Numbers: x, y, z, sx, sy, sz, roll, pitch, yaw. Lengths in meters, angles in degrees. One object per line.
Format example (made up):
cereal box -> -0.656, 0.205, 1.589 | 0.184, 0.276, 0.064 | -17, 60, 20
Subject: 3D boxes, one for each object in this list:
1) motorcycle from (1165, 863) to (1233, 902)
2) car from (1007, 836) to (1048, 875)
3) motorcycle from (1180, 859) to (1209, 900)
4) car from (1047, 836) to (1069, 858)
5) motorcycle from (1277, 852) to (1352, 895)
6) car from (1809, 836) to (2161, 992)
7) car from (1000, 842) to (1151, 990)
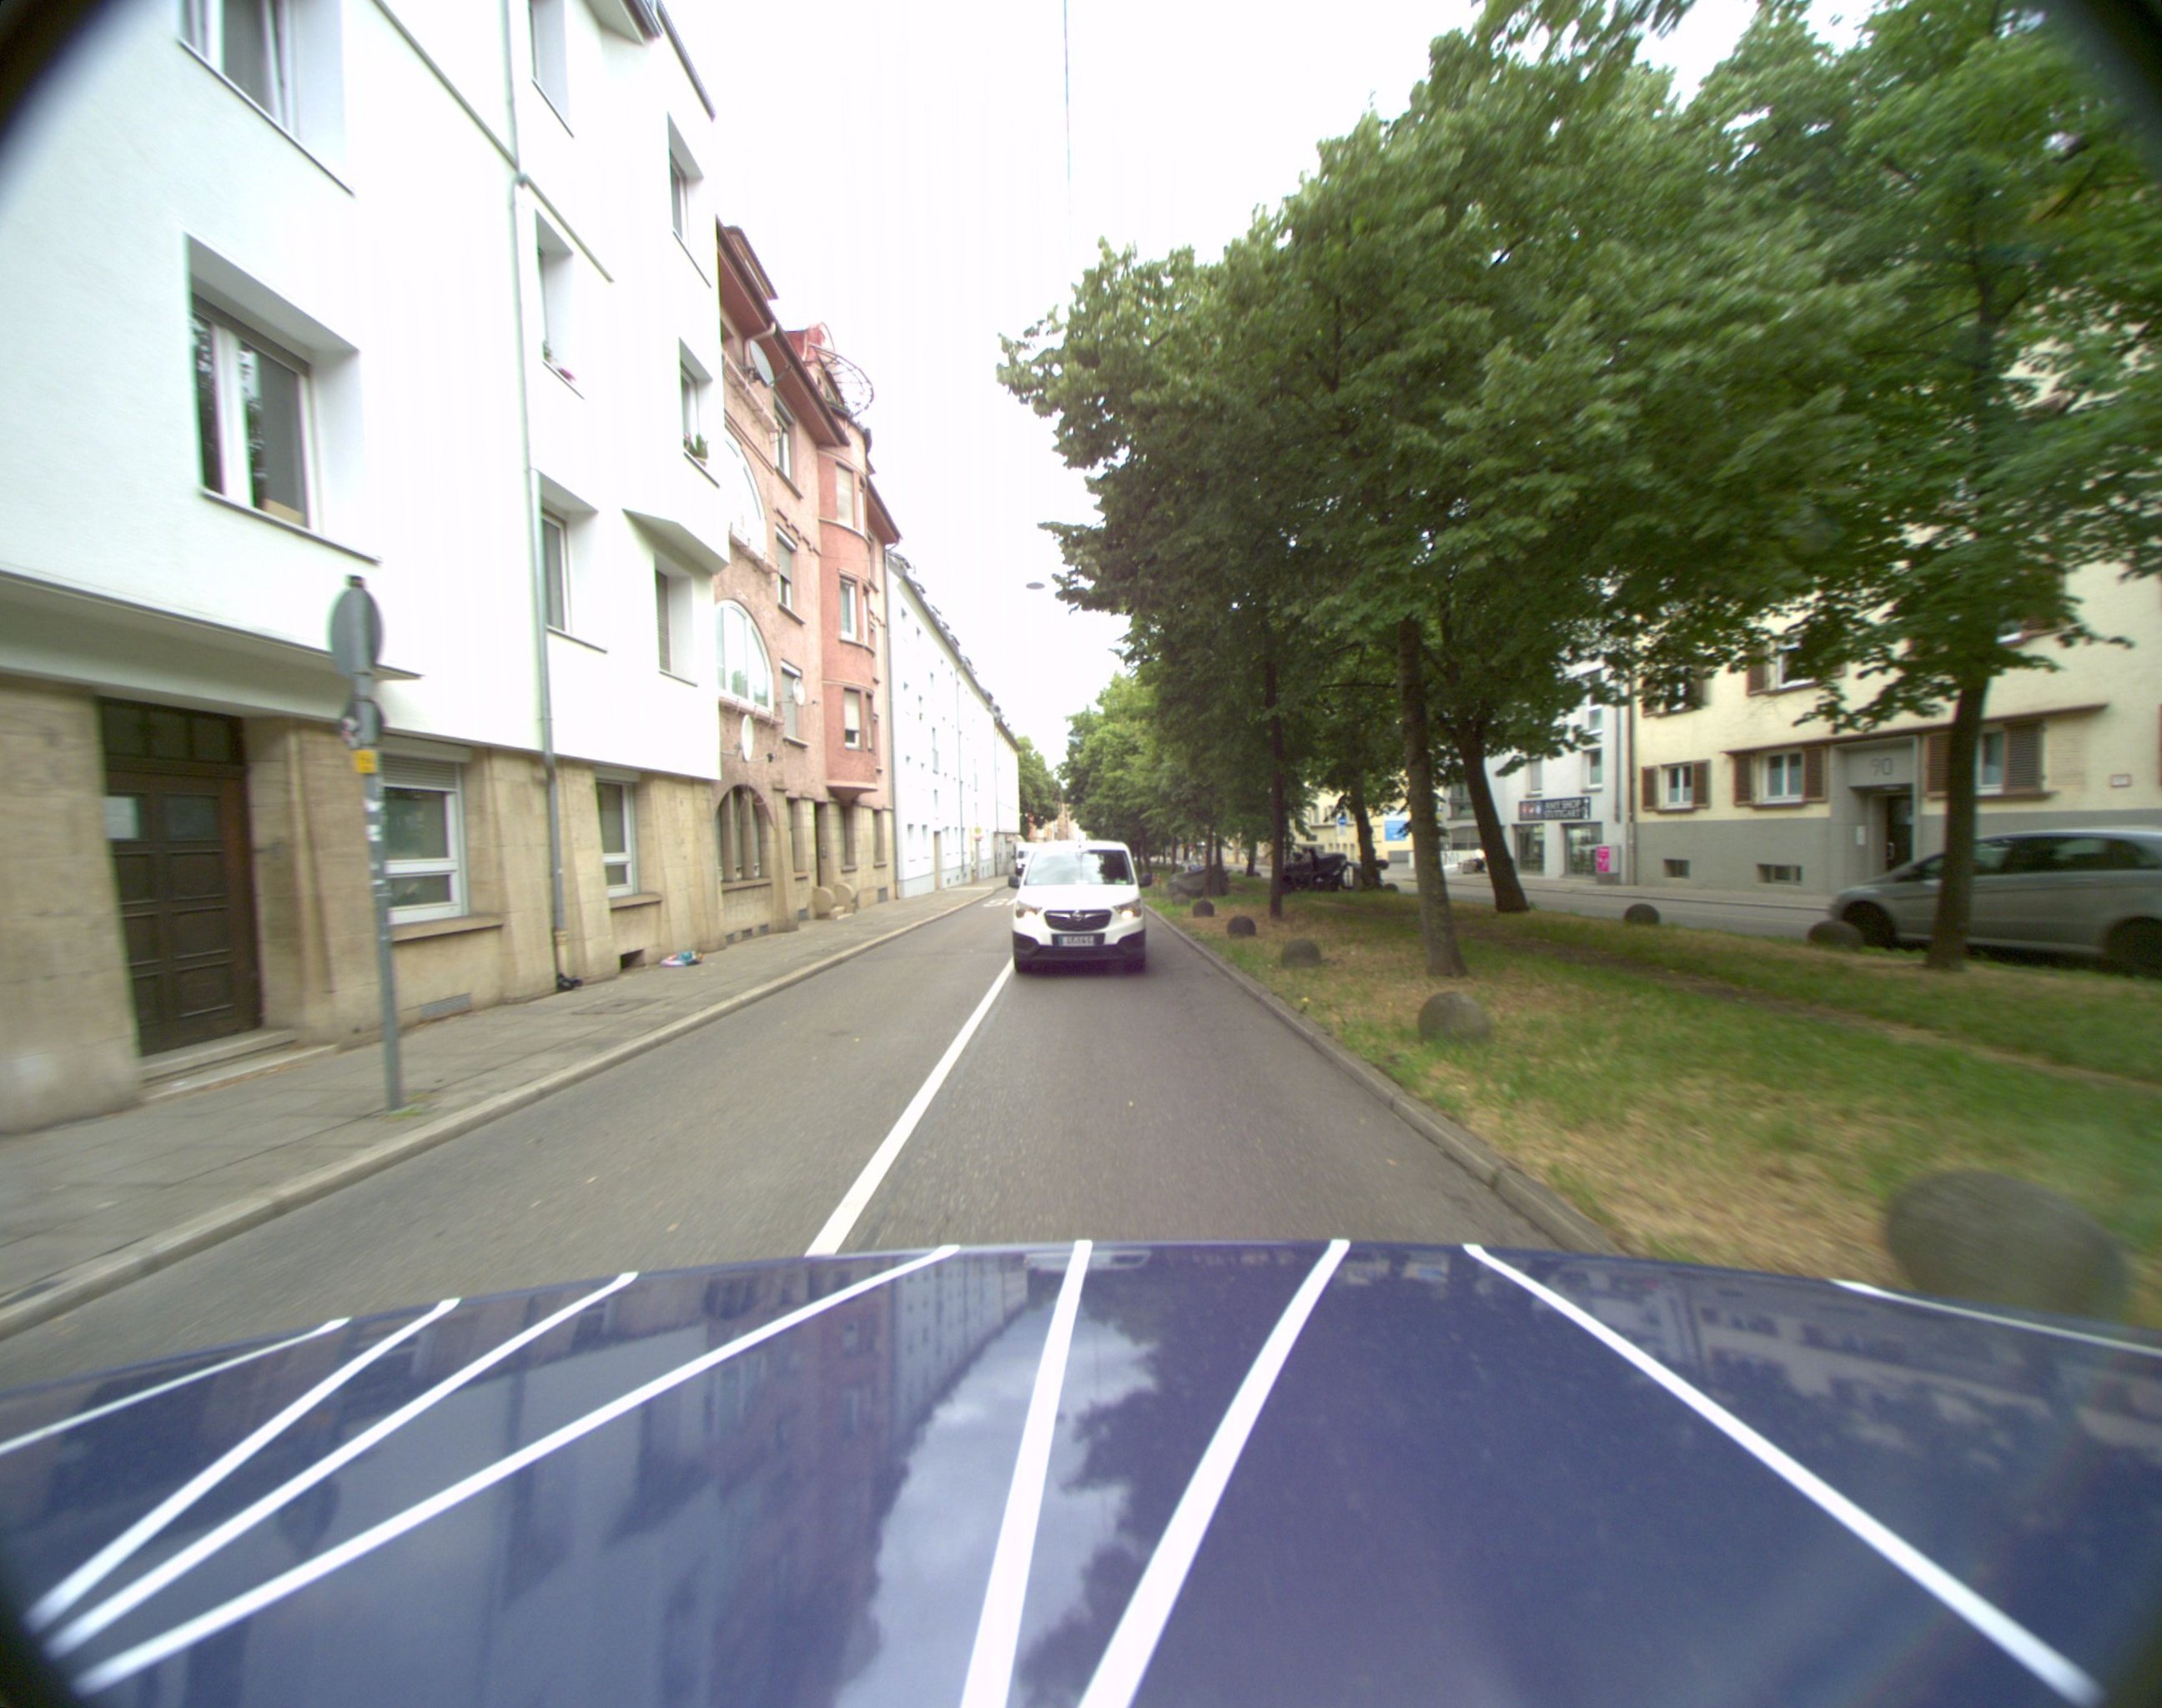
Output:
motorcycle -> 3.751, 0.904, 24.232 | 2.041, 1.126, 0.454 | -2, 3, 1
car -> -4.386, 0.041, 63.945 | 3.026, 3.044, 7.167 | -1, 1, -1
motorcycle -> 3.988, 0.879, 26.816 | 0.454, 1.298, 1.627 | -3, 2, -11
car -> -3.322, -1.081, 110.473 | 3.026, 3.044, 7.167 | -1, 1, -1
motorcycle -> 8.378, 0.676, 27.367 | 2.424, 1.475, 0.963 | 0, 2, 1
car -> 11.732, 0.597, 9.149 | 1.818, 1.554, 4.254 | -2, 0, 0
car -> 0.109, 0.765, 11.983 | 1.853, 1.814, 5.022 | -1, 0, 4
